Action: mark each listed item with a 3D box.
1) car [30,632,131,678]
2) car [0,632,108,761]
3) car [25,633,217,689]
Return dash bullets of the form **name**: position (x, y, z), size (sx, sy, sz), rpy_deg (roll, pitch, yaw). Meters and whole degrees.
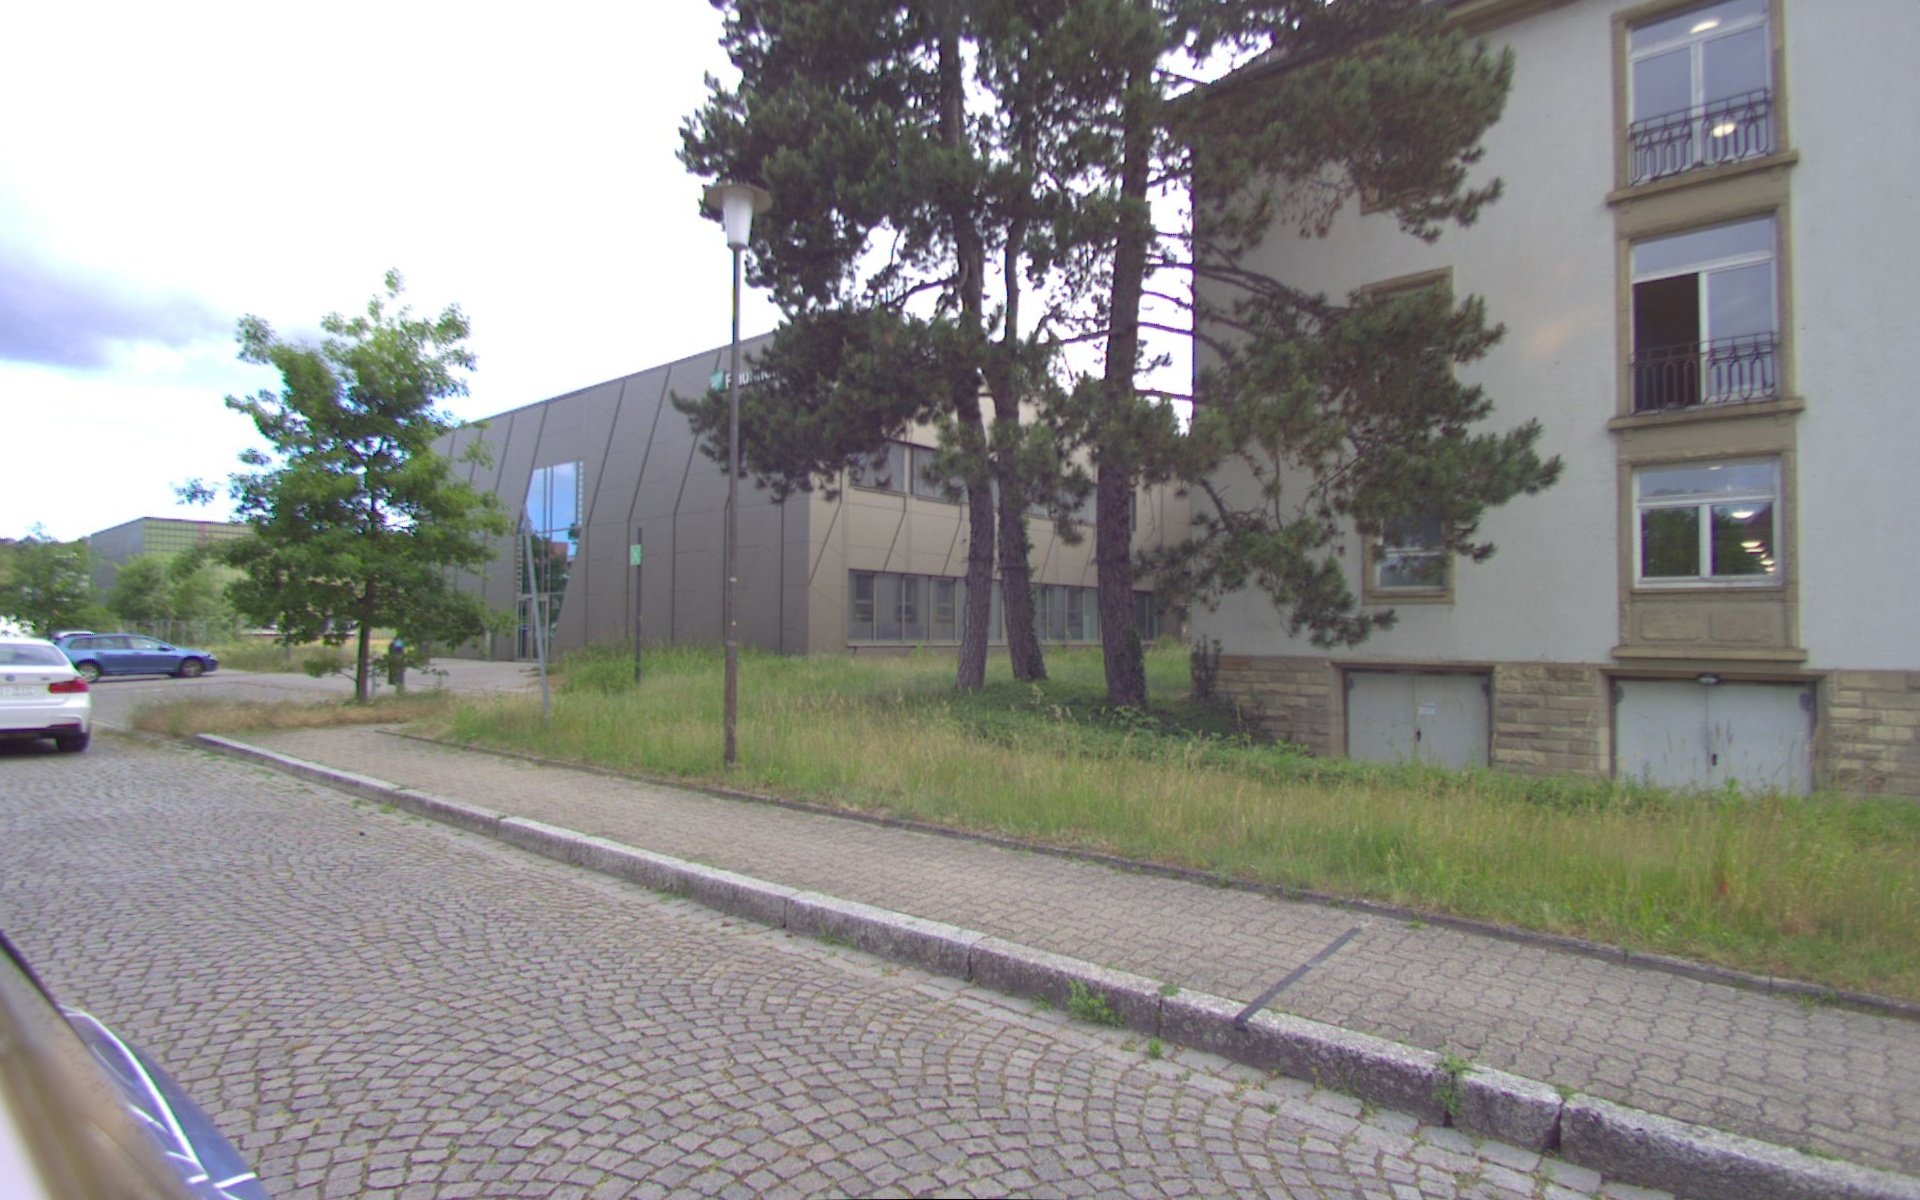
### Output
- **car**: position (-31.658, 1.949, 36.457), size (1.498, 1.541, 2.552), rpy_deg (-1, -1, 39)
- **car**: position (-12.471, 1.132, 12.742), size (4.212, 1.449, 1.756), rpy_deg (-1, -5, 38)
- **car**: position (-26.103, 1.850, 31.621), size (1.631, 1.481, 4.372), rpy_deg (-1, -1, 38)
